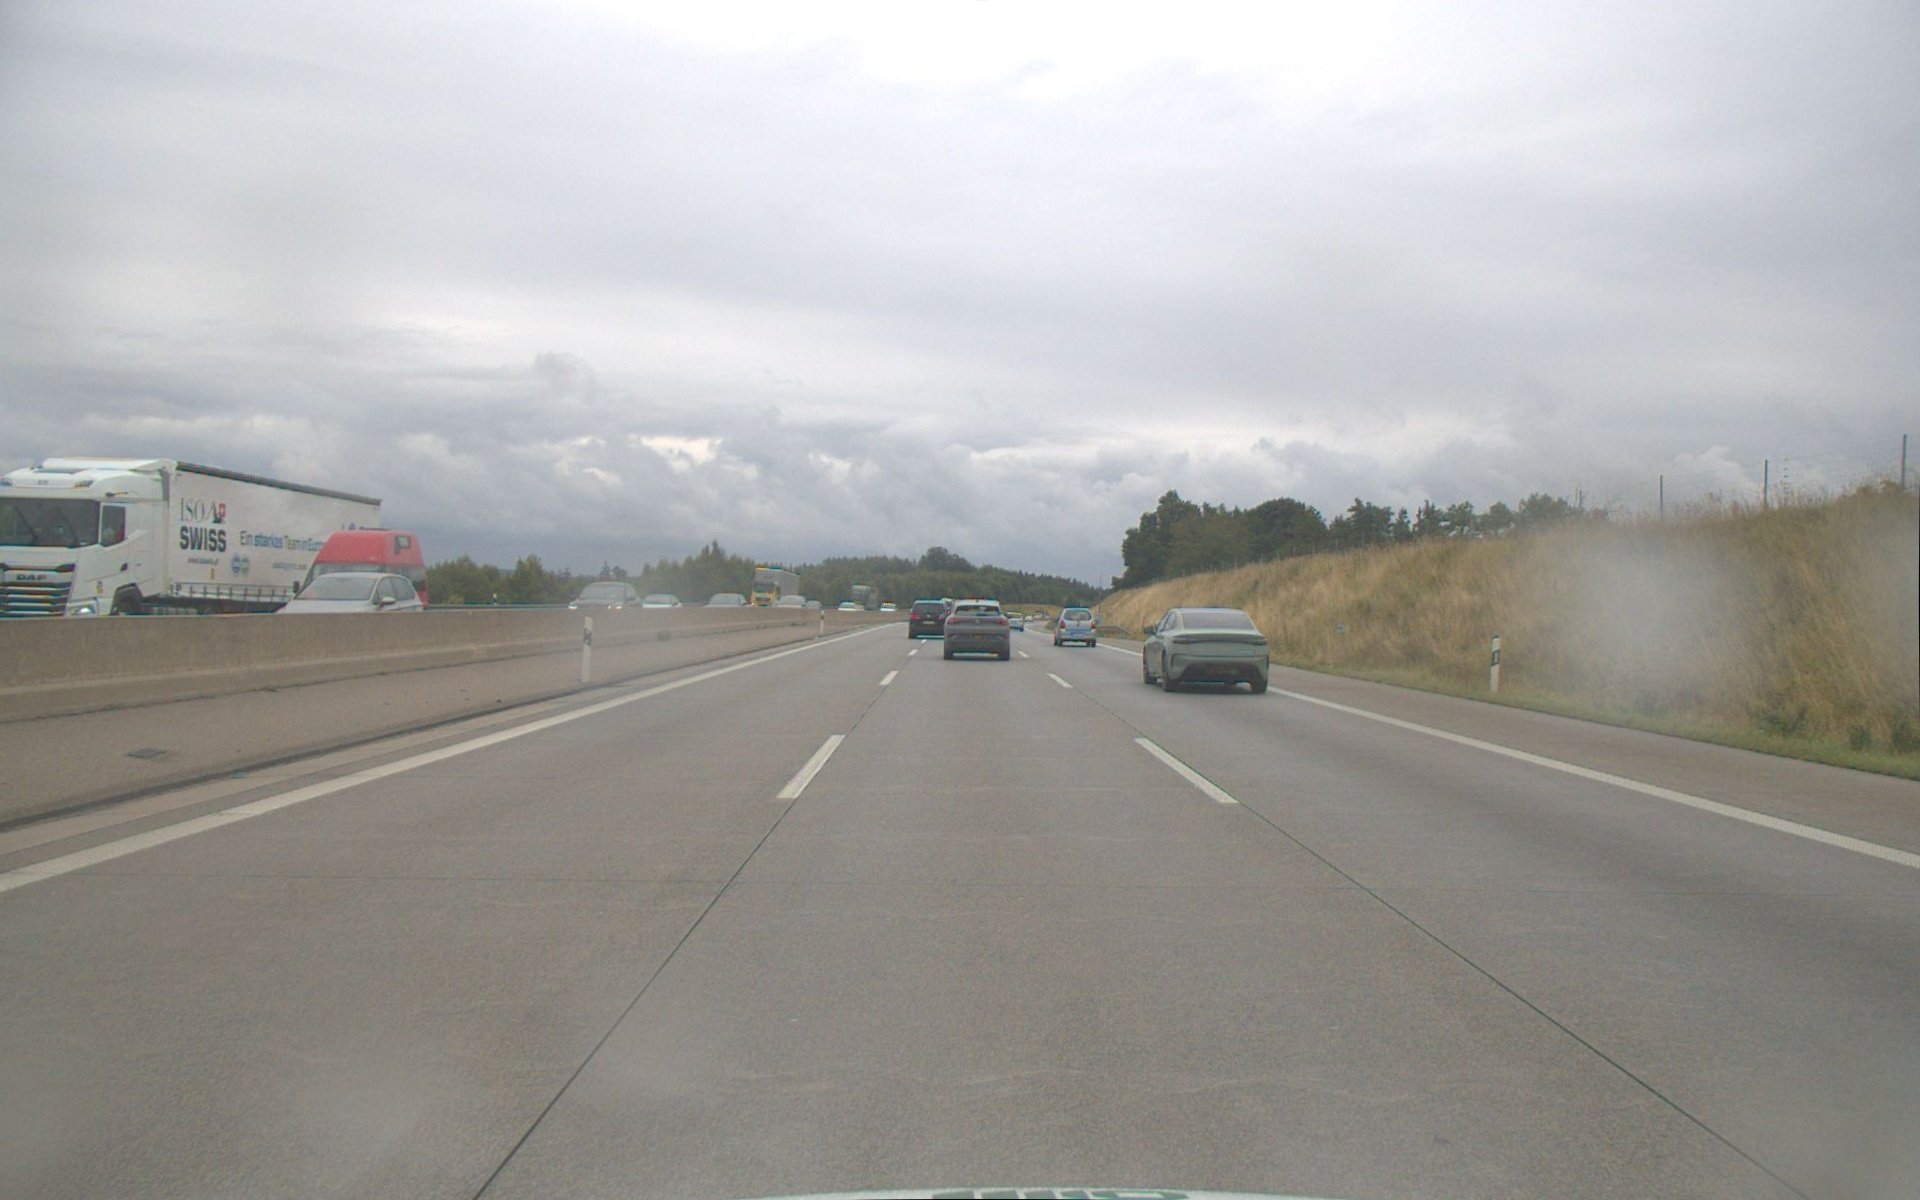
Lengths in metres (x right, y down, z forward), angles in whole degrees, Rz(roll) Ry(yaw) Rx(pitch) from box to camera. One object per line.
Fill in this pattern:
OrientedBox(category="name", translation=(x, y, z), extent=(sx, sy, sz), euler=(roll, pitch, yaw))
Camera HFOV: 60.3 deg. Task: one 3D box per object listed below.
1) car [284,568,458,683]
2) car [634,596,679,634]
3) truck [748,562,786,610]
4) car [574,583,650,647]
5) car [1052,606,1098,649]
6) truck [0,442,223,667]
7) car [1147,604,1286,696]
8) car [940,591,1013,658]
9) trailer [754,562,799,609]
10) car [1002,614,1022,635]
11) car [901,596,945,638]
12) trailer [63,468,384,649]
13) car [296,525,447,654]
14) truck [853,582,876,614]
OrientedBox(category="car", translation=(-11.302, 0.425, 32.084), extent=(1.765, 2.049, 4.725), euler=(1, 1, -1))
OrientedBox(category="car", translation=(-14.937, 0.713, 81.638), extent=(1.465, 1.779, 4.578), euler=(1, 1, -2))
OrientedBox(category="truck", translation=(-17.674, -1.303, 151.826), extent=(2.872, 4.253, 5.857), euler=(1, 1, -1))
OrientedBox(category="car", translation=(-11.699, 0.470, 55.857), extent=(1.654, 2.049, 4.836), euler=(1, 1, -1))
OrientedBox(category="car", translation=(4.427, 1.040, 63.974), extent=(1.455, 1.496, 3.504), euler=(3, 1, 0))
OrientedBox(category="truck", translation=(-18.906, -0.944, 35.730), extent=(2.825, 4.366, 7.136), euler=(1, 1, -1))
OrientedBox(category="car", translation=(4.609, 0.857, 30.415), extent=(1.972, 1.471, 4.746), euler=(1, 1, 2))
OrientedBox(category="car", translation=(0.404, 0.628, 46.410), extent=(1.859, 1.719, 5.265), euler=(1, 1, -1))
OrientedBox(category="trailer", translation=(-17.621, -1.430, 159.367), extent=(2.858, 4.291, 11.874), euler=(1, 1, 1))
OrientedBox(category="car", translation=(4.235, 1.994, 134.577), extent=(1.455, 1.496, 3.504), euler=(3, 1, 0))
OrientedBox(category="car", translation=(-1.651, 0.747, 74.333), extent=(1.748, 1.777, 3.916), euler=(1, 1, 2))
OrientedBox(category="trailer", translation=(-18.990, -1.021, 44.051), extent=(2.829, 4.072, 13.013), euler=(1, 1, -1))
OrientedBox(category="car", translation=(-14.701, -0.265, 41.655), extent=(1.764, 3.010, 5.579), euler=(1, 0, 0))
OrientedBox(category="truck", translation=(-14.128, -0.328, 245.067), extent=(2.732, 4.336, 6.050), euler=(4, 1, 1))
